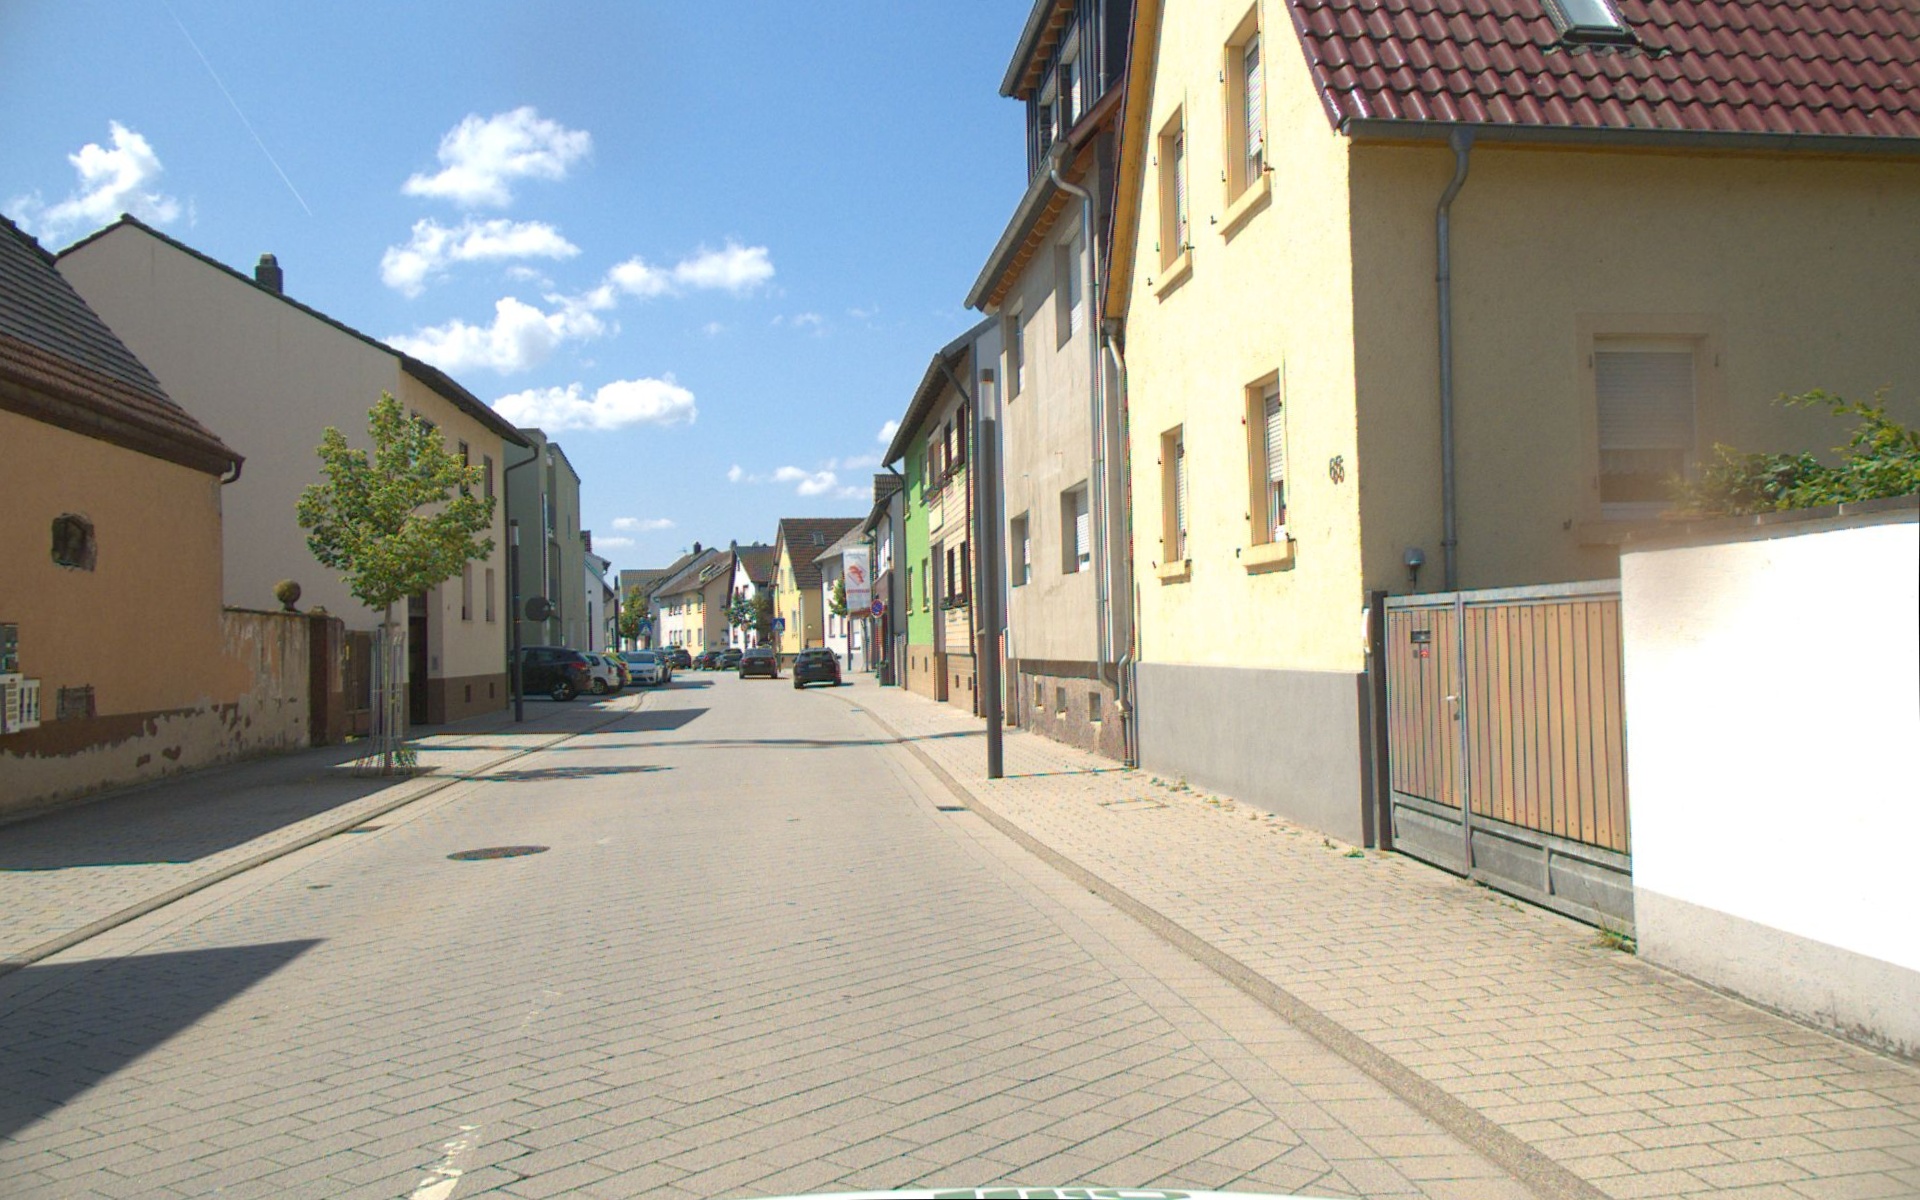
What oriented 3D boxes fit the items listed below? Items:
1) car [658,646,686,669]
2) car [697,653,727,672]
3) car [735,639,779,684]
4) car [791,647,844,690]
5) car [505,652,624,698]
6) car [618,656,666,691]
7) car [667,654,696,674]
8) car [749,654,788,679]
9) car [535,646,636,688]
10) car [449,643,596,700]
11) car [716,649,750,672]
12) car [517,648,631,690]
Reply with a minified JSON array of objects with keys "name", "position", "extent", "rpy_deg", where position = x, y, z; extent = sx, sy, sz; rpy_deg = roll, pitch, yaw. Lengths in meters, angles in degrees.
[{"name":"car","position":[-25.375,5.083,145.443],"extent":[1.877,1.904,3.979],"rpy_deg":[-1,-1,-18]},{"name":"car","position":[-19.053,4.782,127.114],"extent":[1.684,1.411,3.686],"rpy_deg":[-1,-1,-18]},{"name":"car","position":[-9.943,2.985,80.654],"extent":[1.957,2.094,4.364],"rpy_deg":[-2,-1,-9]},{"name":"car","position":[-5.510,2.624,64.372],"extent":[1.821,1.484,4.582],"rpy_deg":[-3,-1,-3]},{"name":"car","position":[-14.080,2.664,59.037],"extent":[3.824,1.529,1.749],"rpy_deg":[1,-2,-5]},{"name":"car","position":[-13.922,3.196,72.559],"extent":[1.724,1.436,3.872],"rpy_deg":[0,-2,-6]},{"name":"car","position":[-23.581,5.411,140.148],"extent":[1.848,1.619,3.979],"rpy_deg":[-1,-1,-18]},{"name":"car","position":[-12.859,4.481,110.927],"extent":[1.801,1.497,4.254],"rpy_deg":[-3,-1,-18]},{"name":"car","position":[-14.540,2.593,64.329],"extent":[3.620,1.552,1.670],"rpy_deg":[1,-2,-6]},{"name":"car","position":[-13.474,2.202,51.182],"extent":[4.138,1.687,1.781],"rpy_deg":[1,-2,-7]},{"name":"car","position":[-16.495,4.392,119.878],"extent":[1.818,1.590,3.674],"rpy_deg":[-1,-1,-18]},{"name":"car","position":[-14.327,2.551,61.571],"extent":[3.910,1.467,1.688],"rpy_deg":[1,-2,-6]}]
